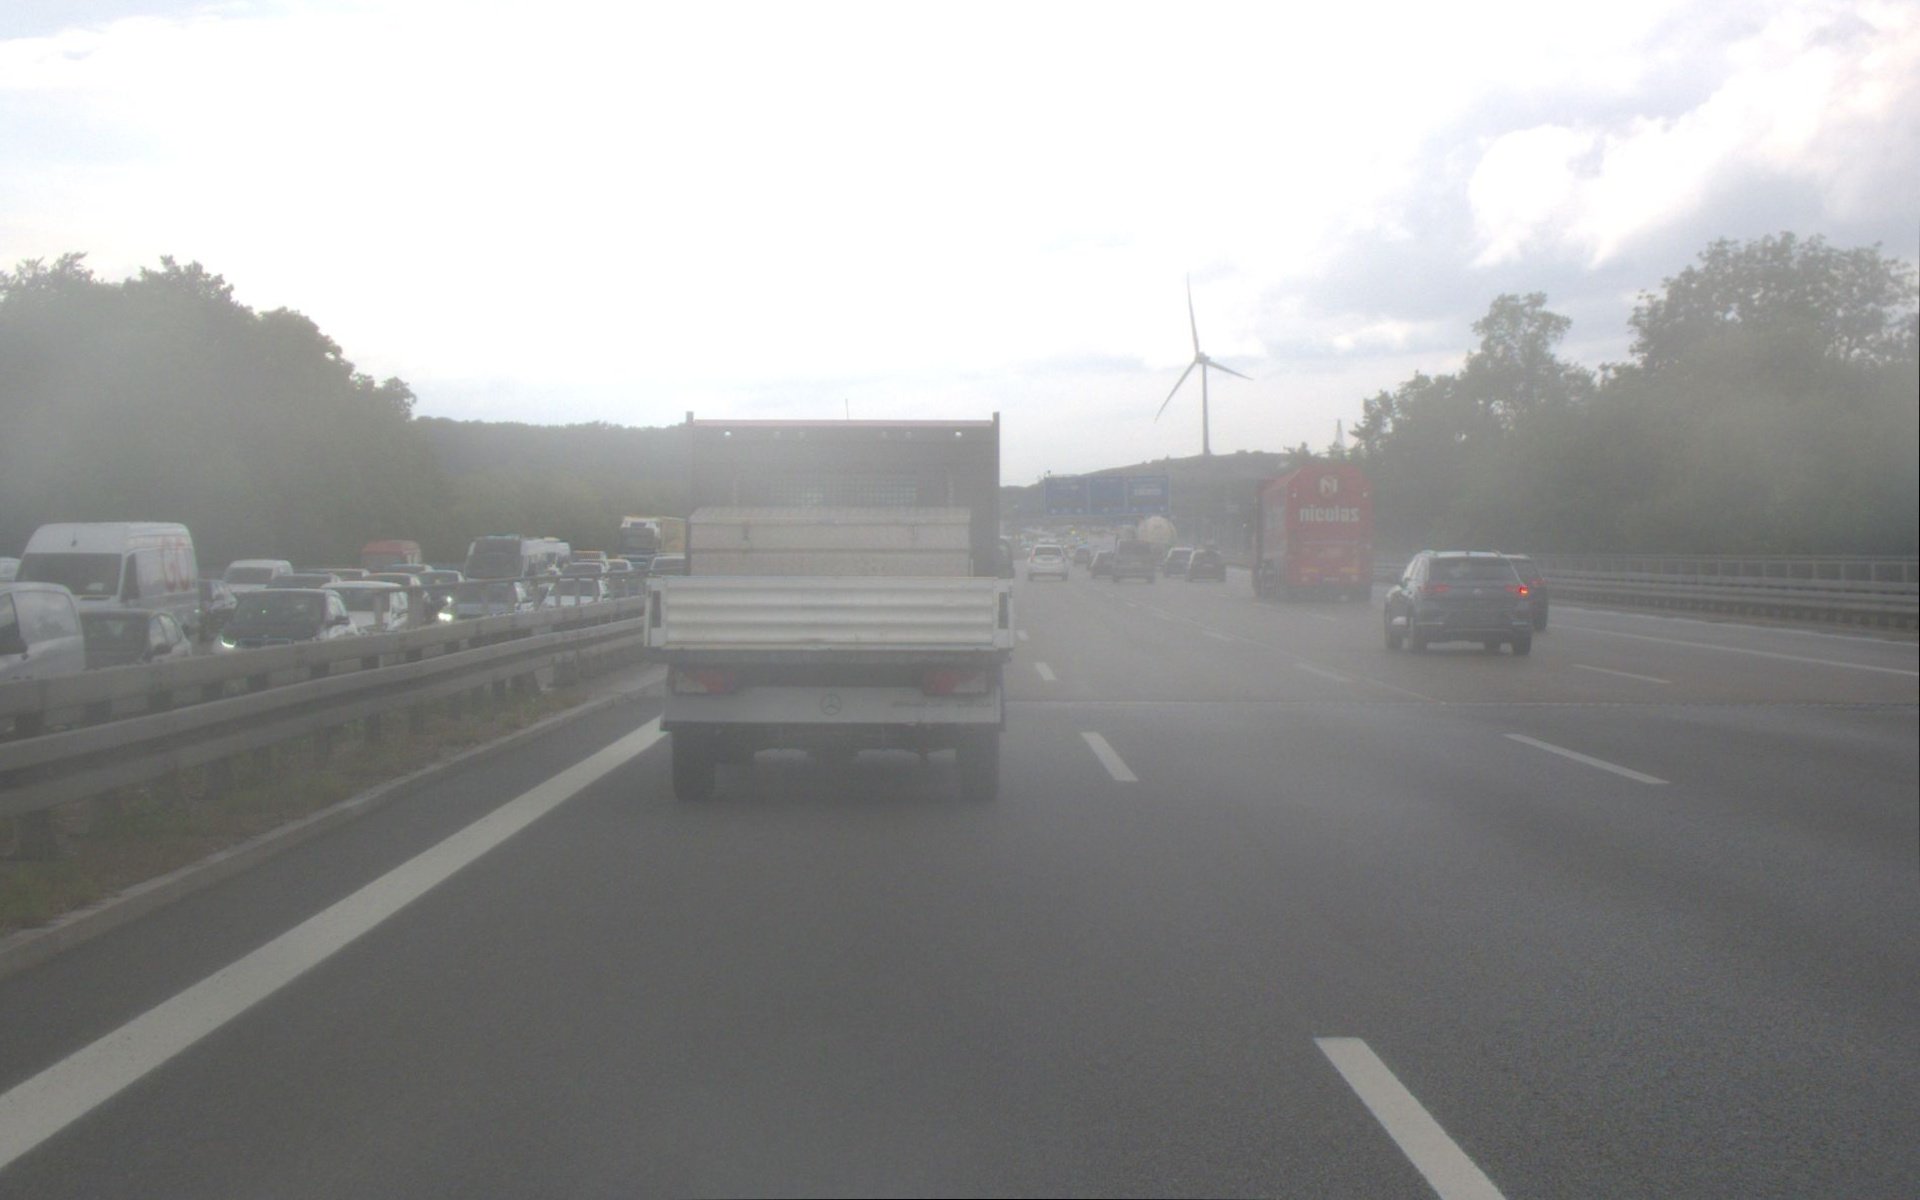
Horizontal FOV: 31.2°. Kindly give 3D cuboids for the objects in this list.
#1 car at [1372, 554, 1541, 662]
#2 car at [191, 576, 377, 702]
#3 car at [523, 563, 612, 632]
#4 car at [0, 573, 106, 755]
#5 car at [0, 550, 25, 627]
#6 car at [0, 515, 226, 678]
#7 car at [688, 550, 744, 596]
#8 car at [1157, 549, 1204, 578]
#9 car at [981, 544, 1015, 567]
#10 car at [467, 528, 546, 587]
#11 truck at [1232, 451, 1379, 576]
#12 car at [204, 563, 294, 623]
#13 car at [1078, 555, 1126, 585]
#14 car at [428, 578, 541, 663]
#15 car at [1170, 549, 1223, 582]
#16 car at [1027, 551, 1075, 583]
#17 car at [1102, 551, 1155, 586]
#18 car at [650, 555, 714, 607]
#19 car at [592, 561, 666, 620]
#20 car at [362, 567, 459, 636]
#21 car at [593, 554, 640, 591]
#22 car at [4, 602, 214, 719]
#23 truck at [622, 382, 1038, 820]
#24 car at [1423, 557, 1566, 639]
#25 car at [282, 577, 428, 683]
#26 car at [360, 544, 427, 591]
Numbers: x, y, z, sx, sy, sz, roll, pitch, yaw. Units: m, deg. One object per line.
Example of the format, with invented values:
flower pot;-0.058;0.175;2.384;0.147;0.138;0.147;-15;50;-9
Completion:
car;7.468;0.091;52.064;1.882;1.537;4.433;-1;1;0
car;-10.430;0.555;53.407;1.894;1.794;5.571;-1;1;-1
car;-10.668;-0.096;93.660;1.894;1.794;4.596;-1;1;0
car;-10.628;0.642;36.250;1.894;1.794;5.842;-1;1;-1
car;-23.443;-0.263;80.429;1.894;1.794;4.596;-1;1;0
car;-14.711;-0.111;59.827;2.127;2.627;7.609;-1;1;1
car;-9.784;-1.112;138.066;1.894;1.794;4.596;-1;1;0
car;12.086;-2.010;188.666;1.967;1.555;4.434;-1;1;-3
car;2.539;-2.989;230.667;1.967;1.555;4.434;-1;1;-3
car;-14.300;-1.355;108.575;1.894;1.794;4.596;-1;1;0
truck;10.567;-2.692;106.537;3.152;3.589;12.700;1;2;0
car;-22.458;-0.241;108.690;1.894;1.794;4.596;-1;1;0
car;7.479;-1.593;181.388;1.967;1.555;4.434;-1;1;-4
car;-10.624;0.437;77.127;1.894;1.794;4.596;-1;1;0
car;11.378;-1.669;165.881;1.967;1.555;4.434;-1;1;-3
car;4.461;-1.639;169.186;1.967;1.555;4.434;-1;1;-3
car;7.767;-1.472;159.012;1.967;1.555;4.434;-1;1;-3
car;-9.844;-0.688;121.961;1.894;1.794;4.596;-1;1;0
car;-10.393;-0.319;108.238;1.894;1.794;4.596;-1;1;0
car;-14.877;0.020;93.304;1.894;1.794;4.596;-1;1;0
car;-17.207;-1.394;172.184;1.894;1.794;4.596;-1;1;0
car;-10.462;0.717;42.540;1.621;1.292;4.251;-1;1;-1
truck;-0.823;-0.027;22.728;2.306;2.431;7.149;0;1;-2
car;10.520;-0.069;67.968;1.882;1.555;4.434;-1;1;-3
car;-10.828;0.502;61.801;1.894;1.794;4.596;-1;1;-1
car;-22.182;-1.270;134.740;1.894;1.794;4.596;-1;1;0
